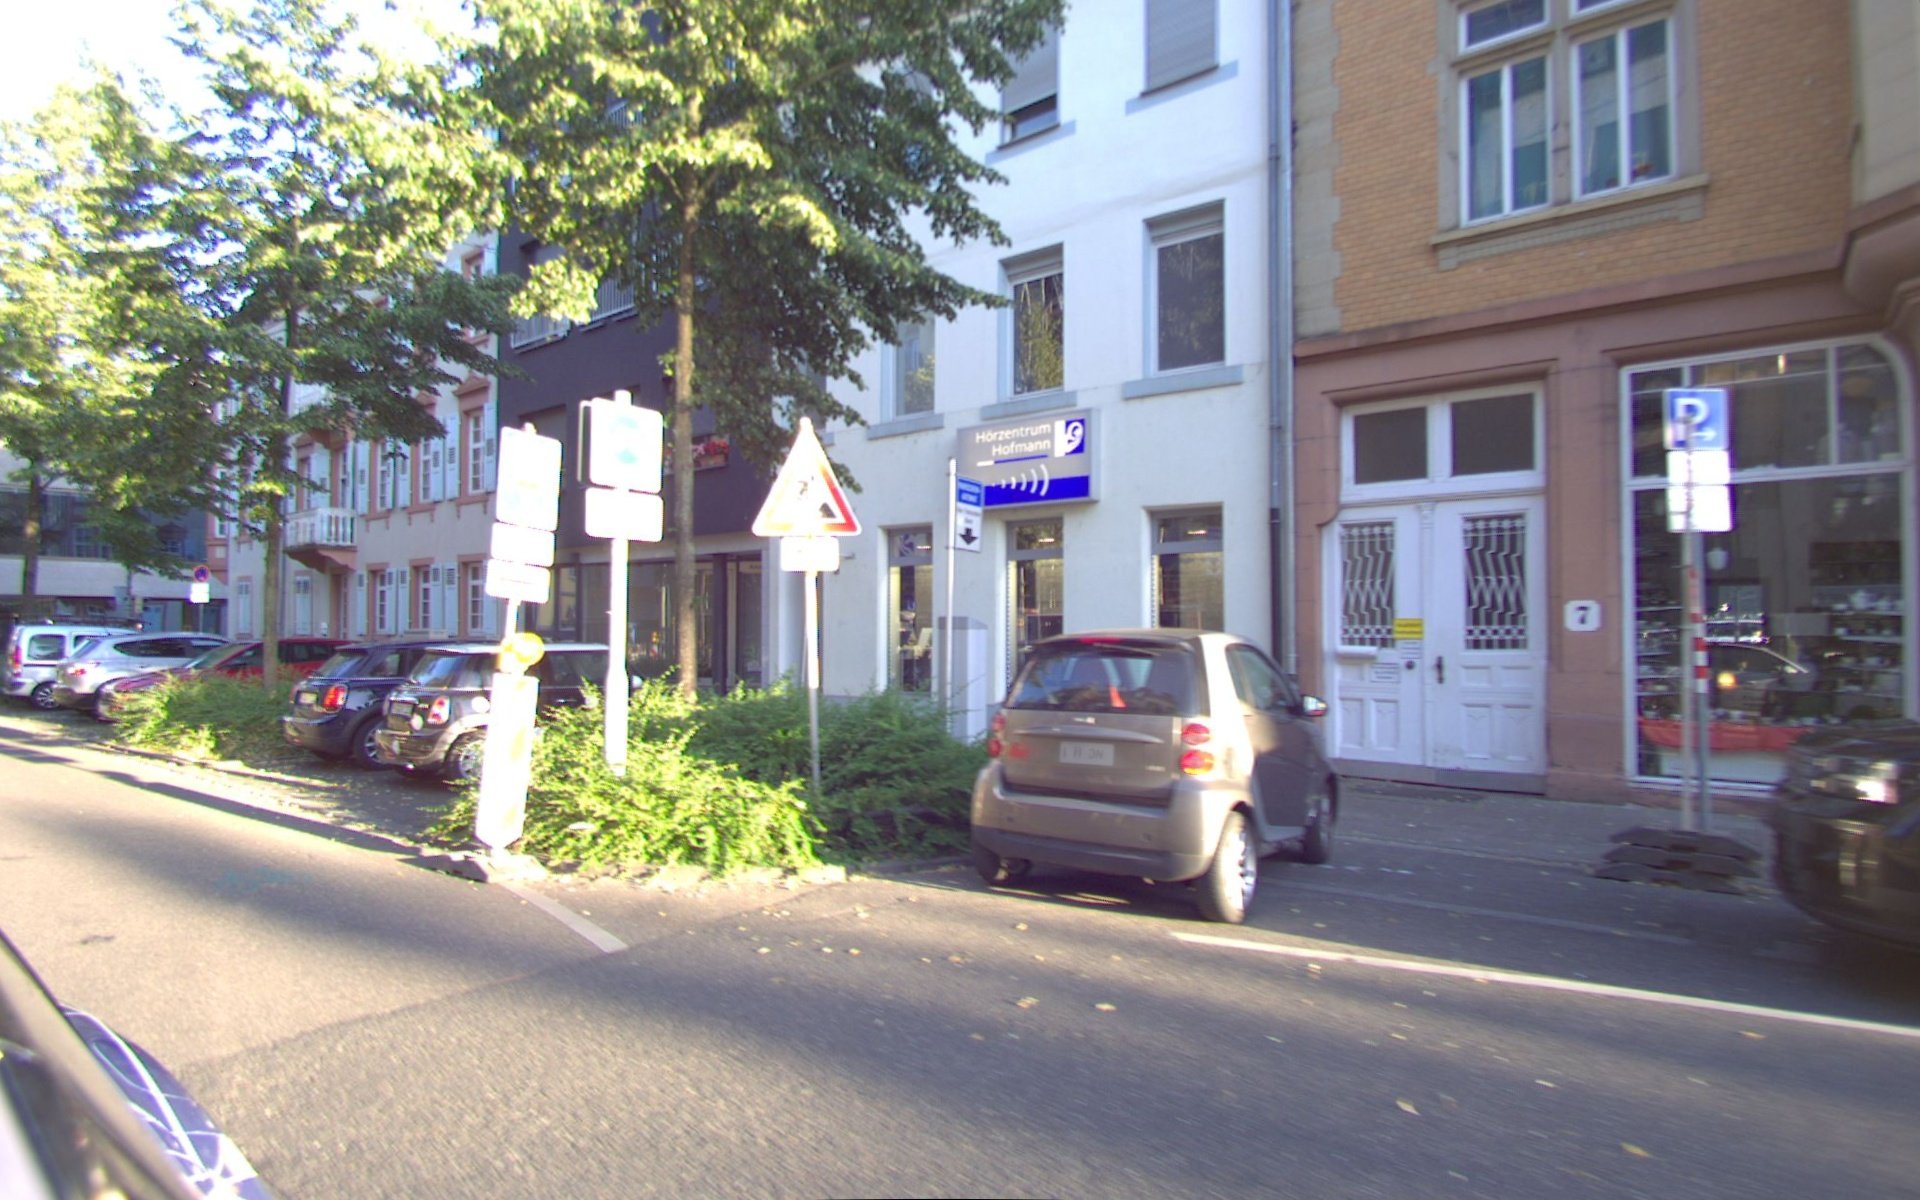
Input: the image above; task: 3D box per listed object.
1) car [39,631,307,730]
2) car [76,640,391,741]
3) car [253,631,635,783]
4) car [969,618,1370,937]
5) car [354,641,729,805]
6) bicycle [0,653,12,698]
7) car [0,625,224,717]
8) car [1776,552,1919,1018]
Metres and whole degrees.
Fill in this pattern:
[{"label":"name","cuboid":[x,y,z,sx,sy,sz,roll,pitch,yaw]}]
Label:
[{"label":"car","cuboid":[-14.823,1.435,19.204,1.740,1.597,3.785,-1,-1,41]},{"label":"car","cuboid":[-12.641,1.492,17.870,1.758,1.528,4.171,-2,-2,35]},{"label":"car","cuboid":[-6.293,1.188,12.676,1.855,1.529,3.854,-2,-2,39]},{"label":"car","cuboid":[1.452,0.959,6.460,1.568,1.532,2.670,-3,-5,35]},{"label":"car","cuboid":[-4.384,1.177,10.921,1.685,1.402,3.361,-2,-2,41]},{"label":"bicycle","cuboid":[-25.330,1.981,26.630,1.711,1.116,0.391,-2,0,41]},{"label":"car","cuboid":[-18.726,1.490,22.297,1.699,1.864,3.770,-2,-3,42]},{"label":"car","cuboid":[5.885,0.701,3.398,4.690,1.742,1.888,-1,-3,34]}]
